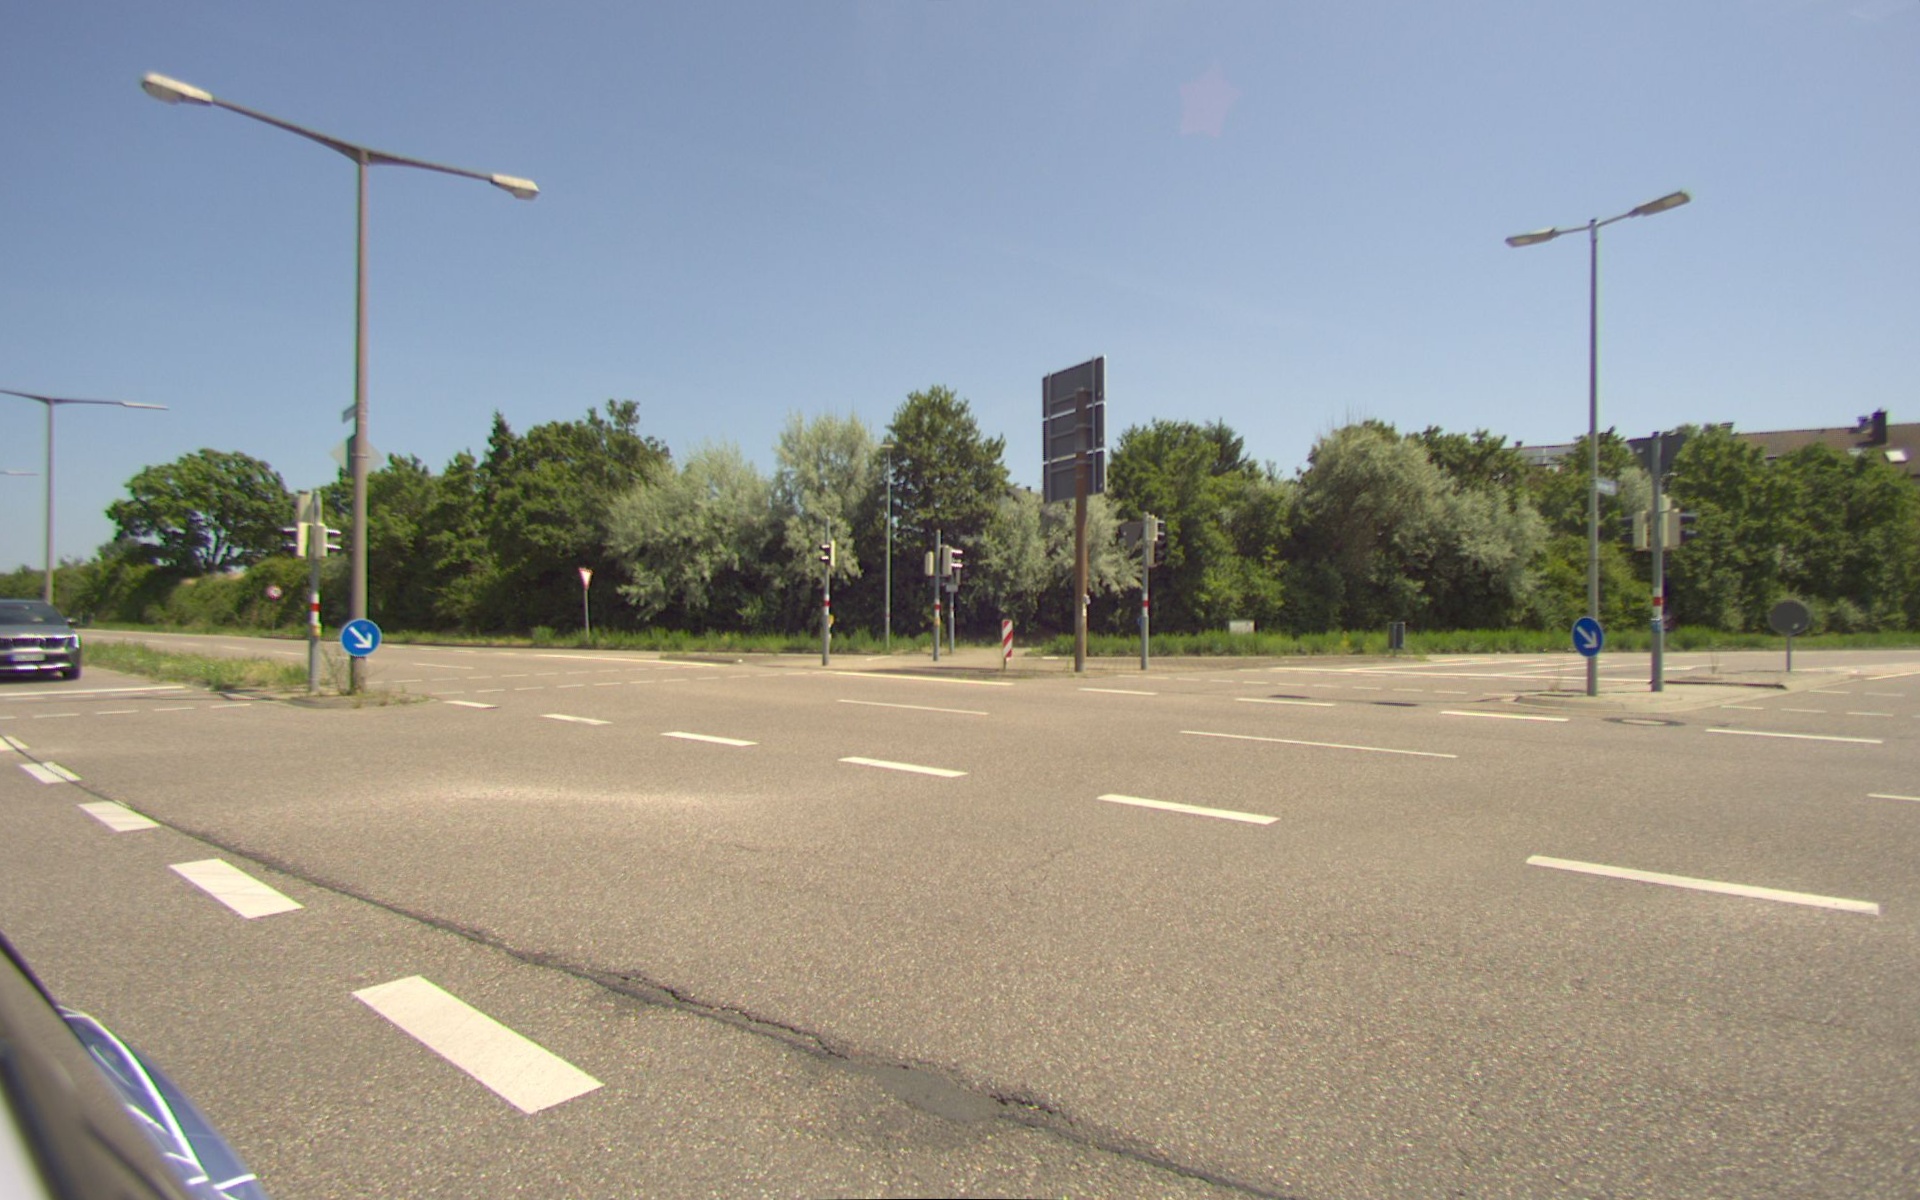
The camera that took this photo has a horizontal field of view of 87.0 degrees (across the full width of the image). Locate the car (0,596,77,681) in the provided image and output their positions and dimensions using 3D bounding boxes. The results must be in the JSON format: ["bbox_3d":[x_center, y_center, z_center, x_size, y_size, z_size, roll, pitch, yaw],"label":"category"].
[{"bbox_3d":[-20.653,0.782,21.857,4.529,1.681,1.762,0,-1,41],"label":"car"}]

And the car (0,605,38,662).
[{"bbox_3d":[-27.275,0.910,28.323,3.998,1.511,1.730,0,0,41],"label":"car"}]
